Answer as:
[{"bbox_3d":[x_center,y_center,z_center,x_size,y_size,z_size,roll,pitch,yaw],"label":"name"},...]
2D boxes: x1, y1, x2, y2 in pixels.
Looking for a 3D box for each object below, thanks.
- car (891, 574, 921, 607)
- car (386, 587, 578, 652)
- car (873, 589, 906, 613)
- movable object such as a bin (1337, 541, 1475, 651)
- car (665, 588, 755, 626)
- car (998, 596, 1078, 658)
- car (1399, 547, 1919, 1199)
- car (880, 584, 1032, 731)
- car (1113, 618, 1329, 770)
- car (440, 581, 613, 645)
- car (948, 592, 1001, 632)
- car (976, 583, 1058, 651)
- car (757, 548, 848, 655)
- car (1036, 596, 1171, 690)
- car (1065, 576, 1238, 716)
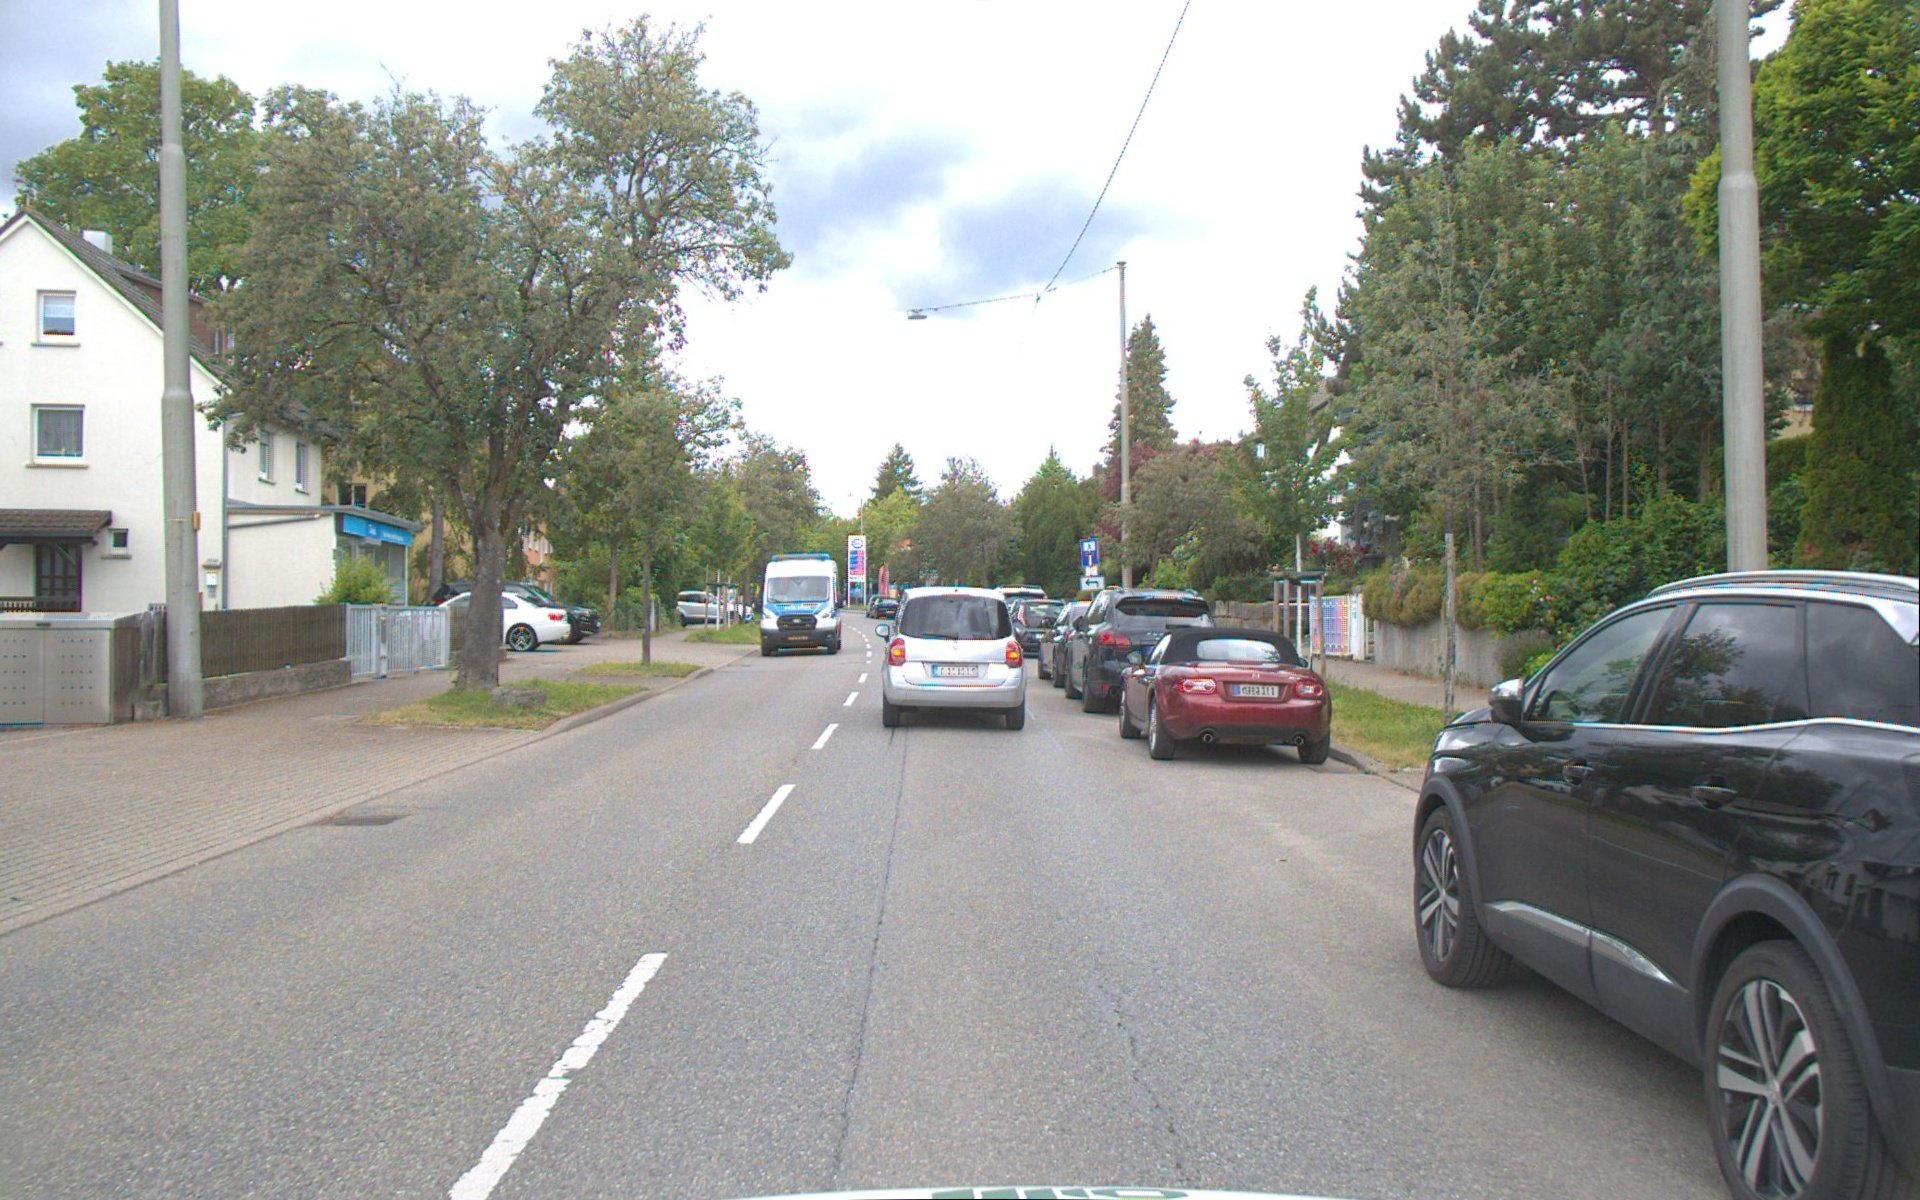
[{"bbox_3d":[-5.071,-0.851,153.970,2.238,2.962,5.271,2,0,-7],"label":"car"},{"bbox_3d":[-11.524,0.459,40.154,4.198,1.392,1.813,2,0,-8],"label":"car"},{"bbox_3d":[-4.638,0.056,108.485,1.664,1.532,3.963,0,0,-10],"label":"car"},{"bbox_3d":[8.756,-0.075,32.536,2.266,2.049,1.341,2,0,-7],"label":"movable object such as a bin"},{"bbox_3d":[-11.730,0.318,77.714,4.006,1.736,1.746,1,0,-4],"label":"car"},{"bbox_3d":[1.952,0.650,42.089,1.528,1.468,3.503,1,0,-6],"label":"car"},{"bbox_3d":[2.816,0.728,5.239,1.654,1.637,4.108,2,0,-1],"label":"car"},{"bbox_3d":[-0.048,0.614,19.825,1.645,1.587,3.511,1,0,0],"label":"car"},{"bbox_3d":[2.533,0.869,16.851,1.451,1.257,3.883,2,0,-2],"label":"car"},{"bbox_3d":[-11.968,0.359,45.867,4.245,1.646,1.973,1,0,-1],"label":"car"},{"bbox_3d":[0.521,0.440,62.734,1.595,1.477,3.871,1,0,-6],"label":"car"},{"bbox_3d":[1.576,0.458,47.345,1.764,1.809,4.700,1,0,-5],"label":"car"},{"bbox_3d":[-4.155,0.023,44.413,2.032,2.627,5.297,-2,0,-2],"label":"car"},{"bbox_3d":[2.449,0.695,29.283,1.793,1.482,4.548,2,0,-2],"label":"car"},{"bbox_3d":[2.569,0.575,23.212,1.793,1.741,4.548,1,0,-1],"label":"car"}]
